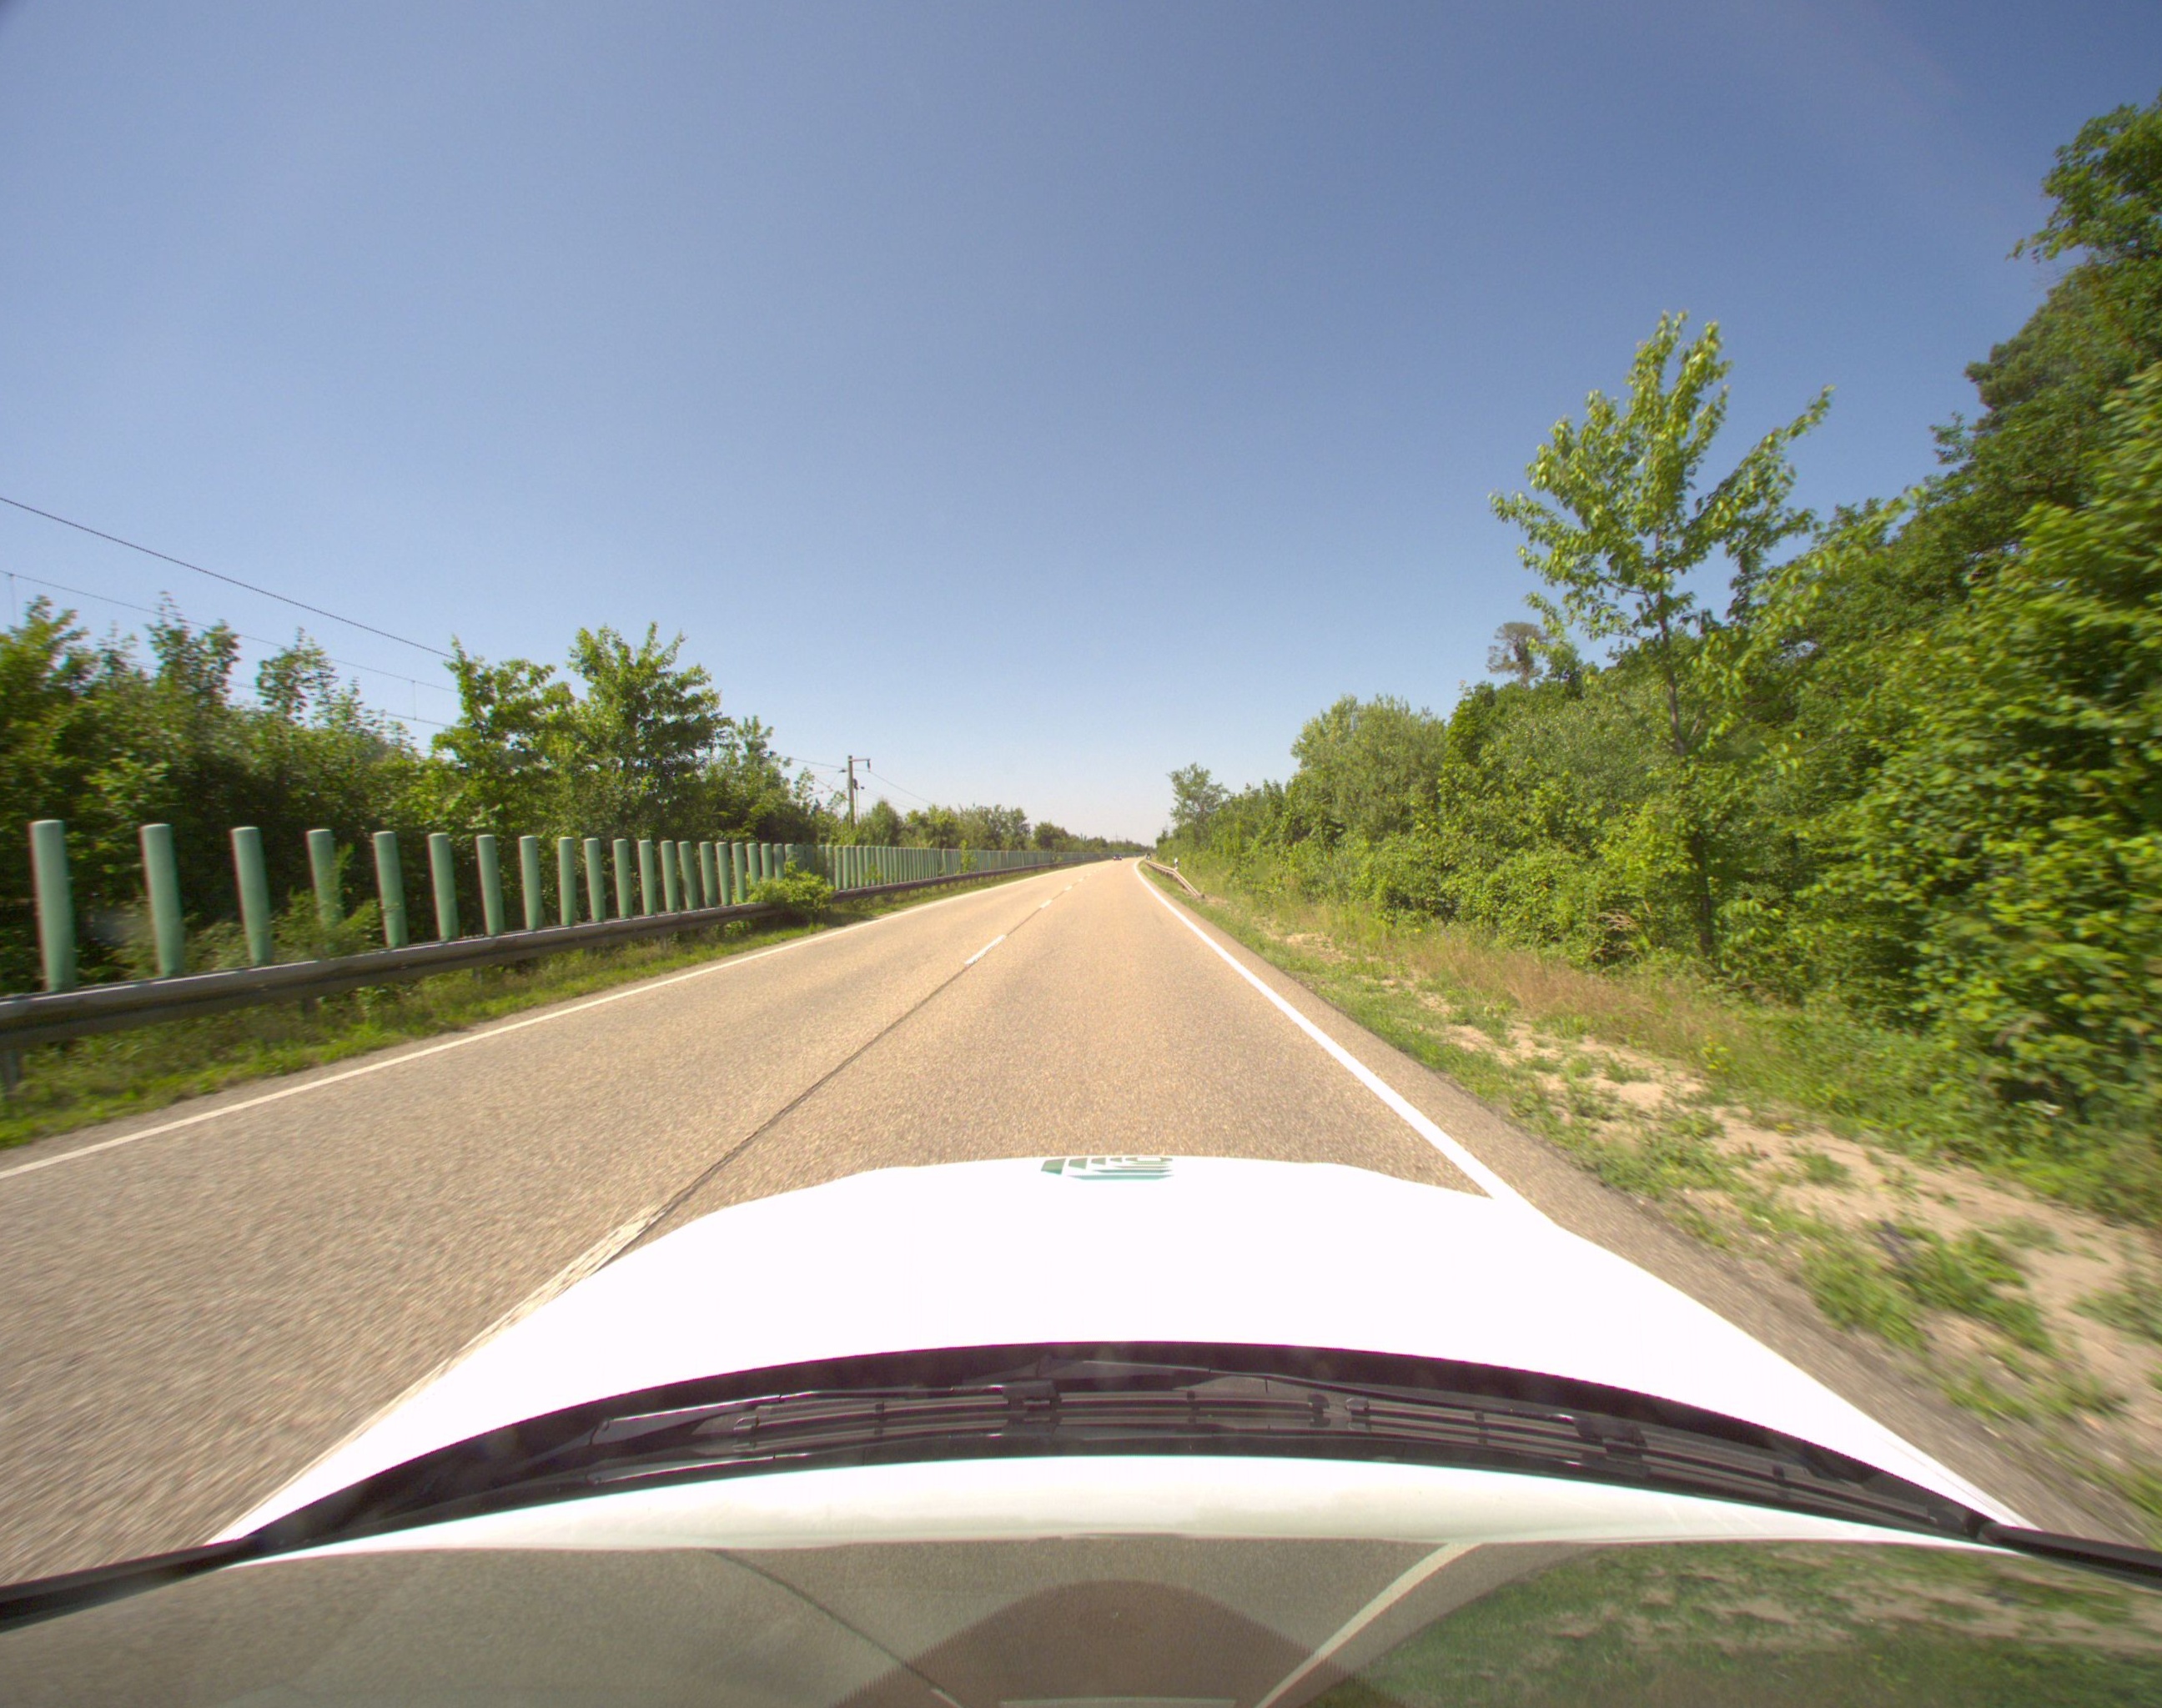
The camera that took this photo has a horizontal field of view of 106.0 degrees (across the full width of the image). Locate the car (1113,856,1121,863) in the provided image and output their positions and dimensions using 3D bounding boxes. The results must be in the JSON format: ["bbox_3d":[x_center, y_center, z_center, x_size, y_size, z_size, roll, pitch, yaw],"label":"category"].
[{"bbox_3d":[8.575,1.341,192.436,1.756,1.640,4.129,-1,-1,3],"label":"car"}]
